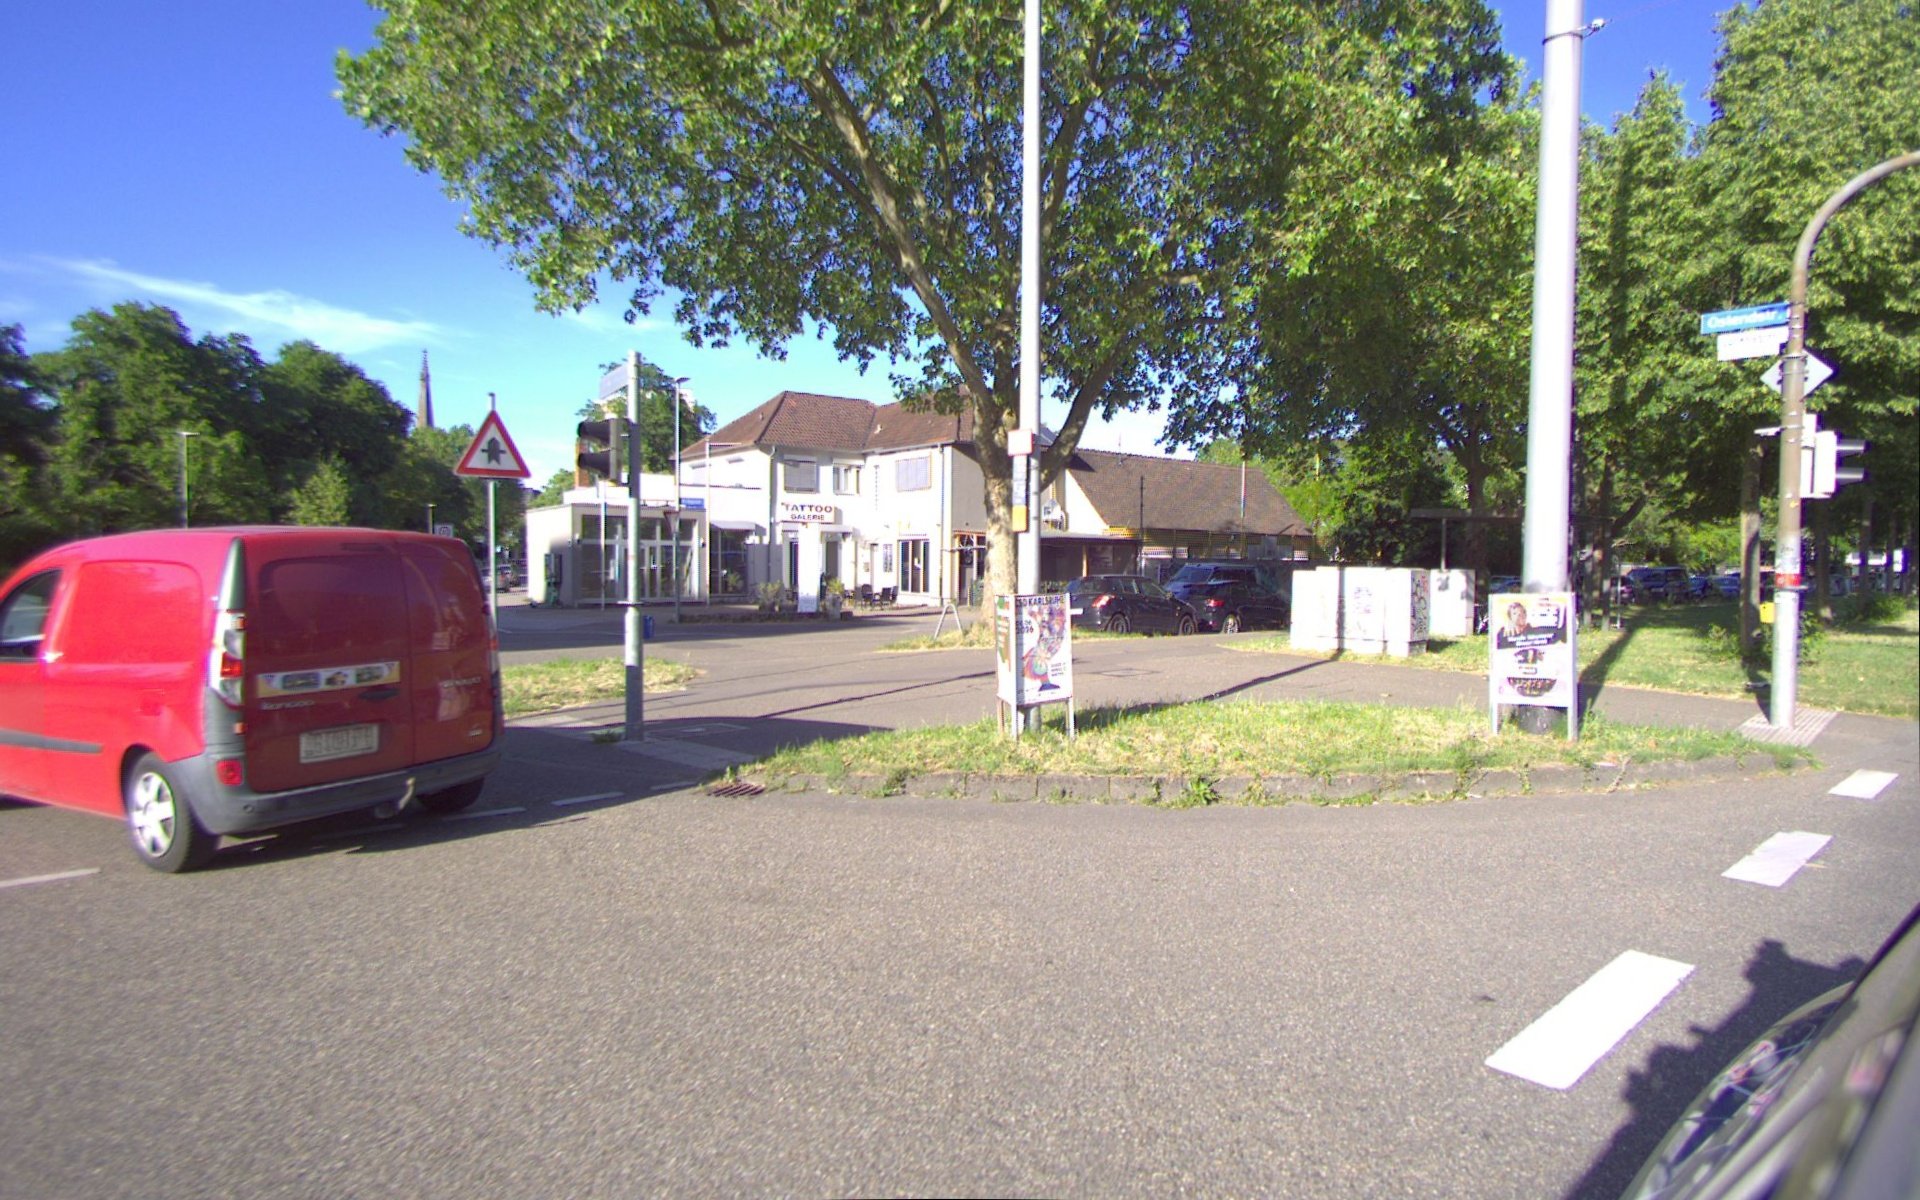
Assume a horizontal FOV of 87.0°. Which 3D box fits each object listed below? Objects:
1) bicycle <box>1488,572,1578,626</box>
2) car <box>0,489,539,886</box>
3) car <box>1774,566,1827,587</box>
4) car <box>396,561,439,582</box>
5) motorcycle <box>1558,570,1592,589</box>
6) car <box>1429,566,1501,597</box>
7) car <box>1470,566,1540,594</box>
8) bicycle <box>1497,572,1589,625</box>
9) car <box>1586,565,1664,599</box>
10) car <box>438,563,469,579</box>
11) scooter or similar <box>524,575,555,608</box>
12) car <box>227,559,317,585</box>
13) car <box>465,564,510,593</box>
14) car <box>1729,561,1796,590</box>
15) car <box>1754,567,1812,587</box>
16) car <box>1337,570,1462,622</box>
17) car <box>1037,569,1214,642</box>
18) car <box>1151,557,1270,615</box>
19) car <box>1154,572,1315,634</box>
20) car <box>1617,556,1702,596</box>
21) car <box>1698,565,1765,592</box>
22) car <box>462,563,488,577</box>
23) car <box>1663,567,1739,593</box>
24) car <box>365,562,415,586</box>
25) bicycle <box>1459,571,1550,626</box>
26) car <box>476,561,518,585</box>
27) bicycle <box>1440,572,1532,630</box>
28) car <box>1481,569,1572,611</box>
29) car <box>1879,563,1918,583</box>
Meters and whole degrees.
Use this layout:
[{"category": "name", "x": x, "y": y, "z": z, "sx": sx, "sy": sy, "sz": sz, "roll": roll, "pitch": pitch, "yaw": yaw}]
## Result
[{"category": "bicycle", "x": 13.029, "y": -0.051, "z": 23.042, "sx": 0.542, "sy": 1.183, "sz": 1.699, "roll": -1, "pitch": 2, "yaw": -41}, {"category": "car", "x": -4.867, "y": 0.400, "z": 6.435, "sx": 4.073, "sy": 1.837, "sz": 1.838, "roll": -1, "pitch": 1, "yaw": 27}, {"category": "car", "x": 54.663, "y": -1.553, "z": 65.802, "sx": 4.468, "sy": 1.332, "sz": 1.997, "roll": -2, "pitch": 2, "yaw": -41}, {"category": "car", "x": -40.337, "y": -2.124, "z": 75.326, "sx": 1.958, "sy": 1.483, "sz": 4.484, "roll": 0, "pitch": 2, "yaw": -17}, {"category": "motorcycle", "x": 38.631, "y": -1.274, "z": 63.603, "sx": 1.725, "sy": 1.163, "sz": 0.728, "roll": 0, "pitch": 1, "yaw": 27}, {"category": "car", "x": 27.080, "y": -1.031, "z": 54.225, "sx": 4.578, "sy": 1.547, "sz": 1.996, "roll": -2, "pitch": 5, "yaw": -44}, {"category": "car", "x": 31.156, "y": -1.178, "z": 57.818, "sx": 4.573, "sy": 1.548, "sz": 1.997, "roll": -2, "pitch": 2, "yaw": -40}, {"category": "bicycle", "x": 13.712, "y": -0.053, "z": 23.827, "sx": 0.541, "sy": 1.183, "sz": 1.807, "roll": -1, "pitch": 2, "yaw": -39}, {"category": "car", "x": 28.982, "y": -0.821, "z": 44.071, "sx": 3.847, "sy": 1.397, "sz": 1.941, "roll": -2, "pitch": 2, "yaw": -42}, {"category": "car", "x": -48.080, "y": -2.764, "z": 96.136, "sx": 1.958, "sy": 1.484, "sz": 4.009, "roll": 0, "pitch": 1, "yaw": -16}, {"category": "scooter or similar", "x": -14.862, "y": -0.303, "z": 35.774, "sx": 0.994, "sy": 1.178, "sz": 0.262, "roll": 0, "pitch": 1, "yaw": 4}, {"category": "car", "x": -40.086, "y": -1.619, "z": 59.060, "sx": 3.934, "sy": 1.484, "sz": 2.004, "roll": 0, "pitch": 1, "yaw": -18}, {"category": "car", "x": -26.062, "y": -1.213, "z": 55.923, "sx": 1.958, "sy": 1.483, "sz": 4.009, "roll": 0, "pitch": 2, "yaw": -21}, {"category": "car", "x": 46.532, "y": -1.457, "z": 58.650, "sx": 4.570, "sy": 1.616, "sz": 1.999, "roll": -2, "pitch": 2, "yaw": -38}, {"category": "car", "x": 50.591, "y": -1.426, "z": 62.175, "sx": 4.040, "sy": 1.225, "sz": 1.998, "roll": -2, "pitch": 2, "yaw": -39}, {"category": "car", "x": 13.932, "y": -0.182, "z": 32.018, "sx": 4.269, "sy": 1.506, "sz": 1.898, "roll": -2, "pitch": 2, "yaw": -39}, {"category": "car", "x": 3.804, "y": 0.054, "z": 22.960, "sx": 3.967, "sy": 1.483, "sz": 1.897, "roll": -2, "pitch": 2, "yaw": -41}, {"category": "car", "x": 9.661, "y": -0.585, "z": 38.773, "sx": 4.983, "sy": 2.061, "sz": 1.897, "roll": -2, "pitch": 4, "yaw": -41}, {"category": "car", "x": 7.082, "y": 0.022, "z": 25.898, "sx": 4.270, "sy": 1.429, "sz": 1.898, "roll": -2, "pitch": 2, "yaw": -40}, {"category": "car", "x": 32.768, "y": -1.137, "z": 47.355, "sx": 4.932, "sy": 1.763, "sz": 2.037, "roll": -2, "pitch": 2, "yaw": -39}, {"category": "car", "x": 42.291, "y": -1.201, "z": 55.463, "sx": 4.782, "sy": 1.379, "sz": 1.997, "roll": -2, "pitch": 2, "yaw": -41}, {"category": "car", "x": -53.498, "y": -3.323, "z": 111.678, "sx": 1.958, "sy": 1.484, "sz": 4.009, "roll": 0, "pitch": 1, "yaw": -16}, {"category": "car", "x": 37.275, "y": -1.036, "z": 50.873, "sx": 4.571, "sy": 1.265, "sz": 1.998, "roll": -2, "pitch": 2, "yaw": -39}, {"category": "car", "x": -37.165, "y": -1.710, "z": 66.089, "sx": 1.958, "sy": 1.483, "sz": 4.484, "roll": 0, "pitch": 2, "yaw": -17}, {"category": "bicycle", "x": 12.025, "y": -0.051, "z": 22.377, "sx": 0.541, "sy": 1.183, "sz": 1.699, "roll": -1, "pitch": 2, "yaw": -40}, {"category": "car", "x": -30.377, "y": -1.767, "z": 66.501, "sx": 1.958, "sy": 1.484, "sz": 4.009, "roll": 0, "pitch": 1, "yaw": -16}, {"category": "bicycle", "x": 11.204, "y": -0.010, "z": 21.594, "sx": 0.541, "sy": 1.183, "sz": 1.702, "roll": -1, "pitch": 2, "yaw": -34}, {"category": "car", "x": 21.372, "y": -0.409, "z": 38.137, "sx": 3.983, "sy": 1.504, "sz": 1.896, "roll": -2, "pitch": 2, "yaw": -43}, {"category": "car", "x": 76.854, "y": -2.202, "z": 82.854, "sx": 3.933, "sy": 1.604, "sz": 1.996, "roll": -2, "pitch": 2, "yaw": -43}]
